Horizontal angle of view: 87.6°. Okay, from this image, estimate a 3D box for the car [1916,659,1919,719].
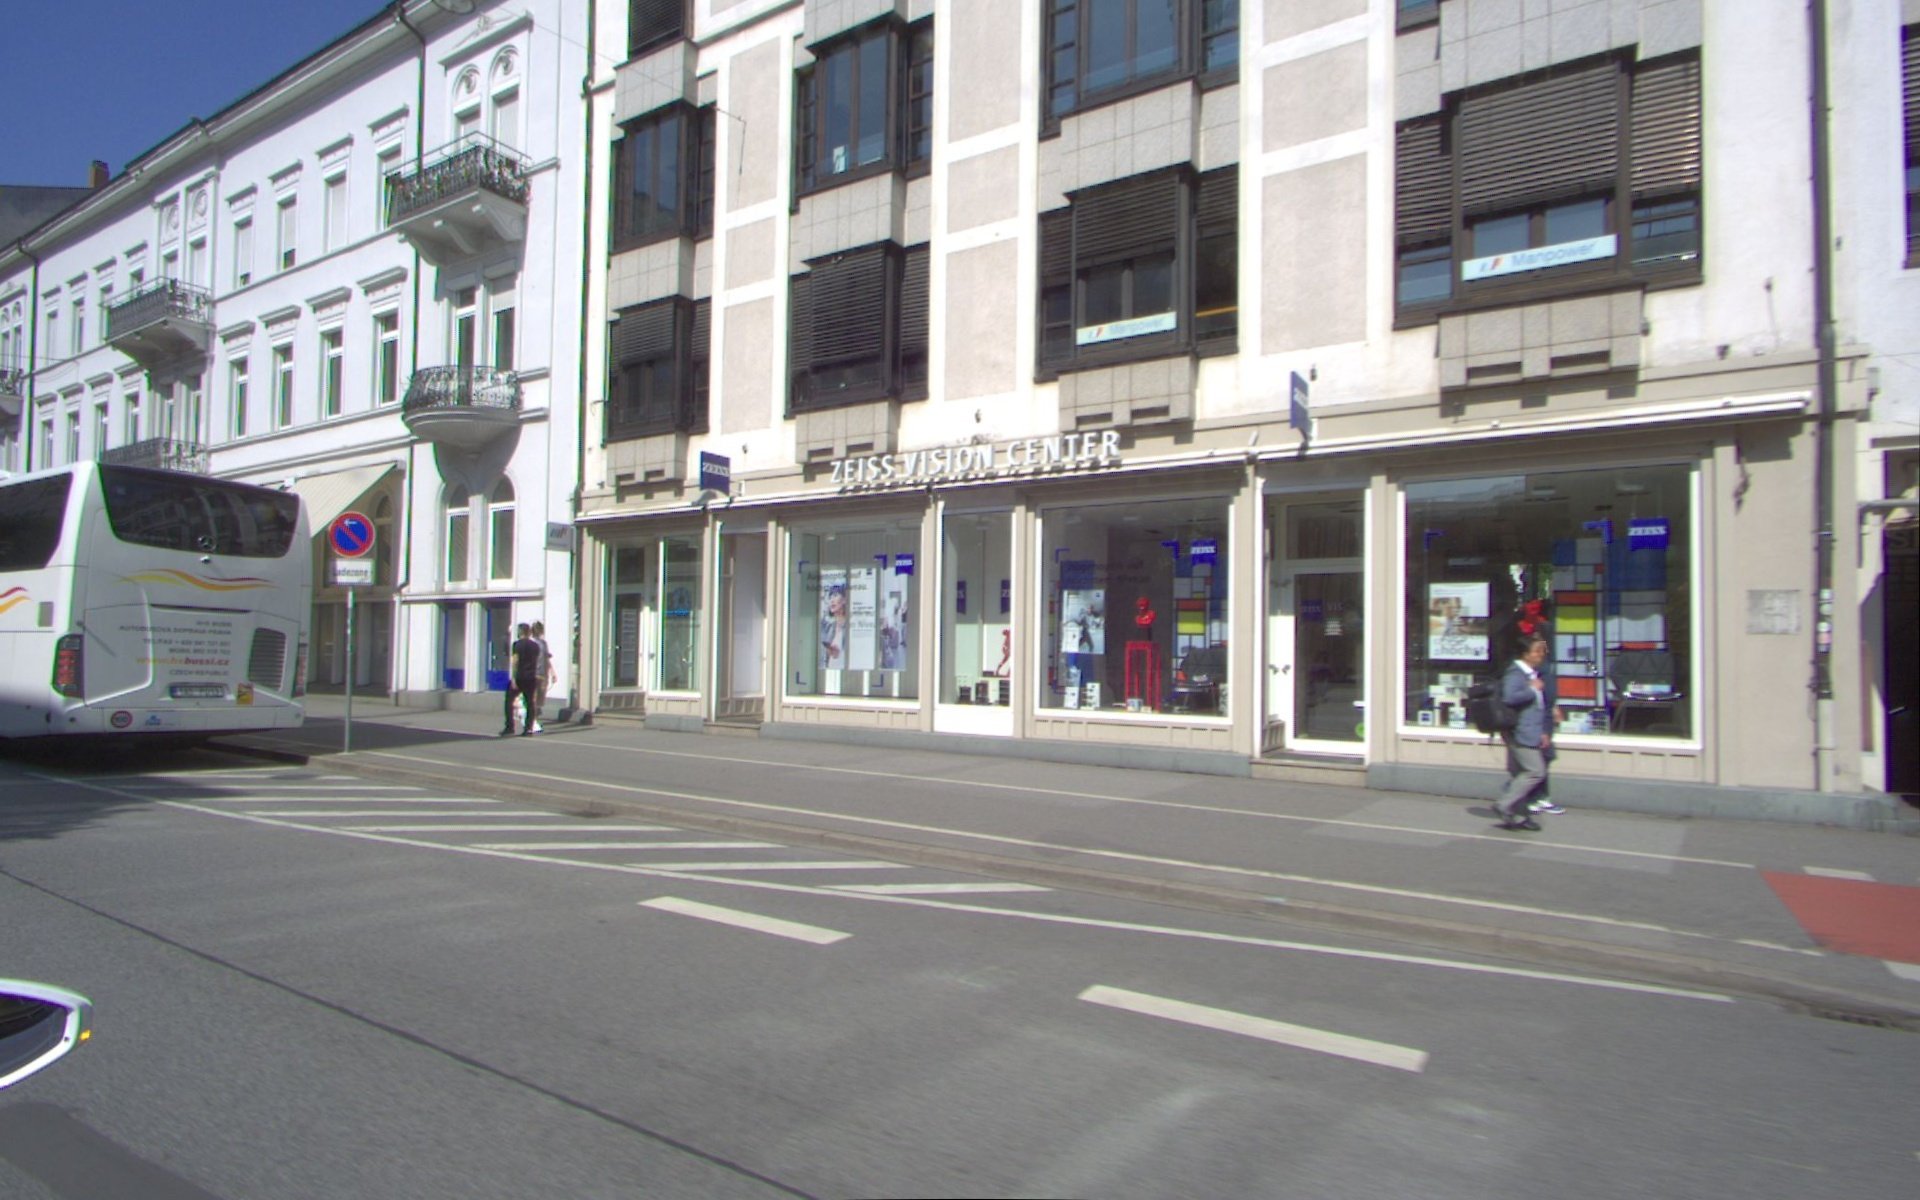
[{"bbox_3d":[9.234,1.206,7.806,1.817,1.512,4.037,-3,-4,33],"label":"car"}]

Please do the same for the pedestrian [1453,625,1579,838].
[{"bbox_3d":[4.773,1.081,8.598,0.826,1.707,0.691,-1,-2,41],"label":"pedestrian"}]

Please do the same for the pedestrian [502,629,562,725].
[{"bbox_3d":[-7.525,1.349,17.611,0.811,1.637,0.644,-2,-3,35],"label":"pedestrian"}]

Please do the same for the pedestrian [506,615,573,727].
[{"bbox_3d":[-6.997,1.171,16.653,1.006,1.800,0.572,-2,-3,35],"label":"pedestrian"}]

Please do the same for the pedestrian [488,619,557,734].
[{"bbox_3d":[-6.845,1.175,15.674,0.824,1.741,0.619,-1,-2,35],"label":"pedestrian"}]

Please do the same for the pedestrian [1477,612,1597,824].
[{"bbox_3d":[5.434,1.076,9.429,0.826,1.873,0.691,-2,-3,41],"label":"pedestrian"}]

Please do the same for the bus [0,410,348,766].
[{"bbox_3d":[-14.077,0.033,15.089,12.245,3.786,2.880,-1,-4,32],"label":"bus"}]
